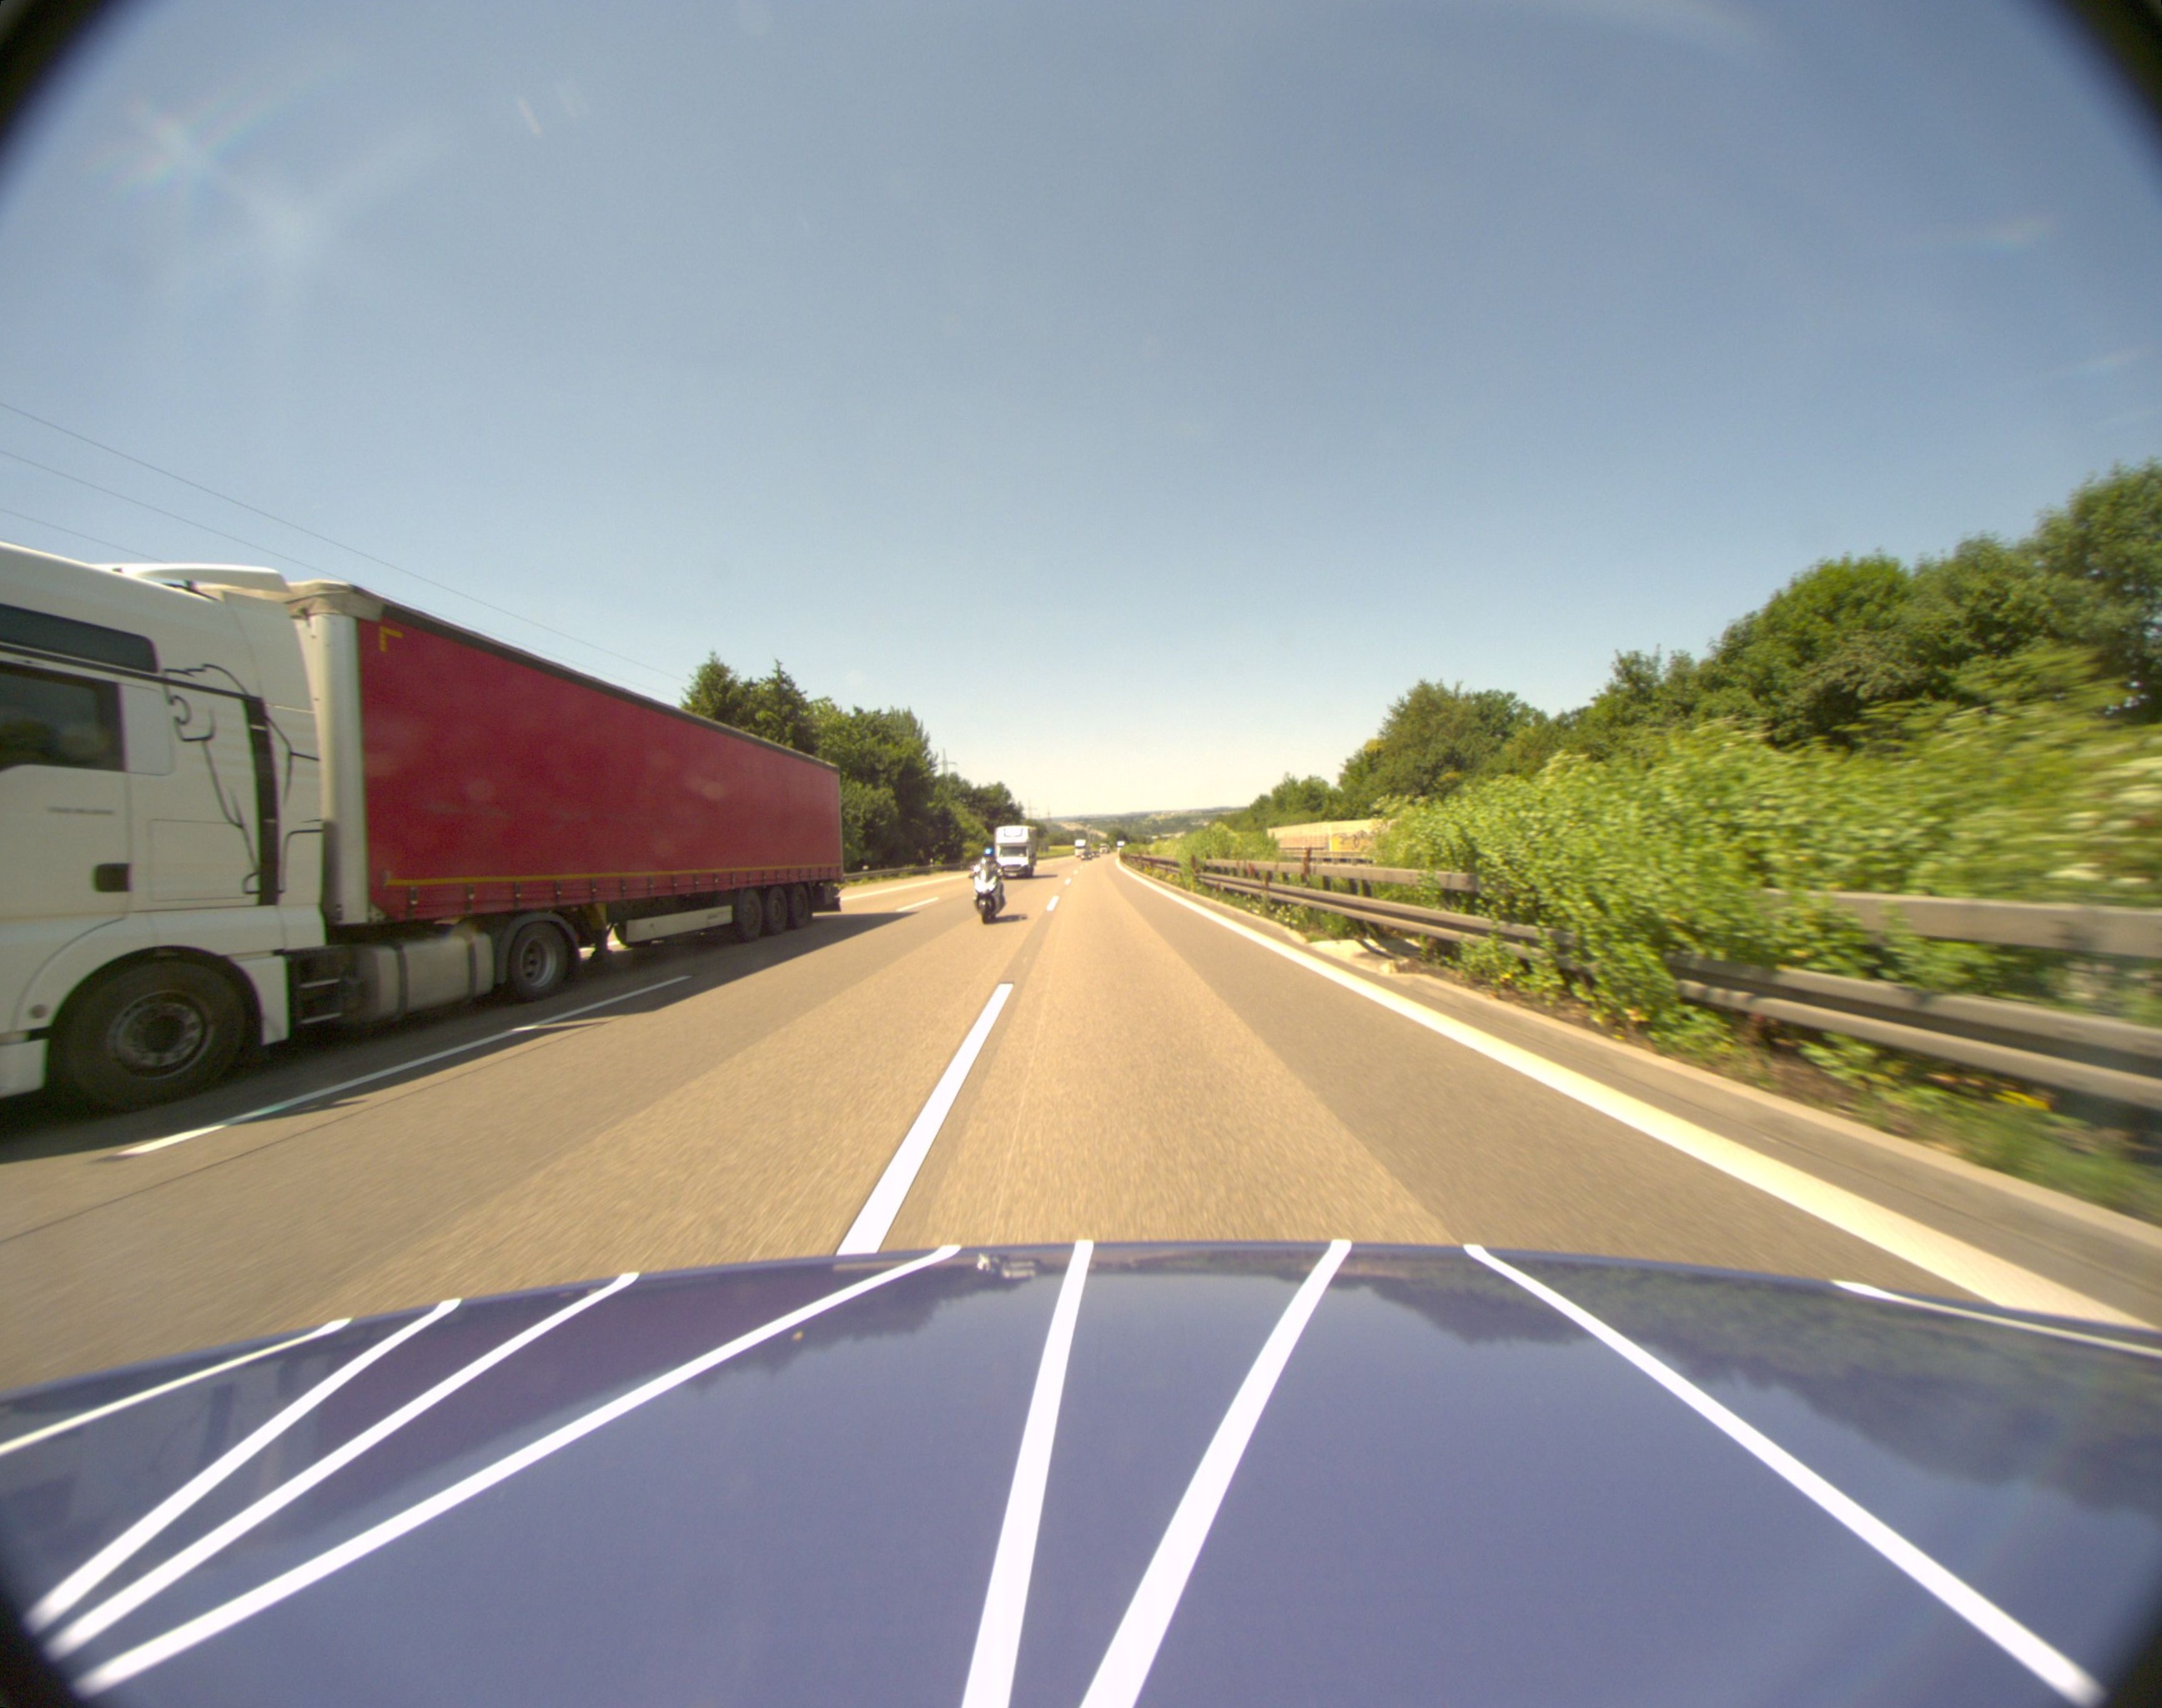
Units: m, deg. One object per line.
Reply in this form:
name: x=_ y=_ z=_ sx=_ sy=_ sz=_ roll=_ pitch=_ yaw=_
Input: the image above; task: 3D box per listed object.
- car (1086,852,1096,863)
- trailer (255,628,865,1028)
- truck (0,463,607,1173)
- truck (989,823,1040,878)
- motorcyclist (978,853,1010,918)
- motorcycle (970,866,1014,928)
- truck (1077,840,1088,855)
car: x=1.770 y=0.599 z=135.078 sx=1.704 sy=1.958 sz=4.000 roll=-2 pitch=1 yaw=2
trailer: x=-7.472 y=-0.344 z=14.741 sx=2.607 sy=4.239 sz=13.031 roll=-2 pitch=1 yaw=0
truck: x=-7.524 y=-0.209 z=6.655 sx=2.567 sy=4.130 sz=6.248 roll=-2 pitch=1 yaw=1
truck: x=-4.168 y=-0.246 z=49.551 sx=2.513 sy=3.268 sz=8.105 roll=-1 pitch=1 yaw=0
motorcyclist: x=-2.065 y=0.730 z=18.083 sx=0.613 sy=1.499 sz=0.513 roll=-2 pitch=1 yaw=2
motorcycle: x=-2.077 y=0.970 z=17.930 sx=0.631 sy=1.279 sz=2.313 roll=-3 pitch=1 yaw=2
truck: x=0.308 y=-1.638 z=191.625 sx=2.591 sy=3.444 sz=5.961 roll=-2 pitch=1 yaw=-1
